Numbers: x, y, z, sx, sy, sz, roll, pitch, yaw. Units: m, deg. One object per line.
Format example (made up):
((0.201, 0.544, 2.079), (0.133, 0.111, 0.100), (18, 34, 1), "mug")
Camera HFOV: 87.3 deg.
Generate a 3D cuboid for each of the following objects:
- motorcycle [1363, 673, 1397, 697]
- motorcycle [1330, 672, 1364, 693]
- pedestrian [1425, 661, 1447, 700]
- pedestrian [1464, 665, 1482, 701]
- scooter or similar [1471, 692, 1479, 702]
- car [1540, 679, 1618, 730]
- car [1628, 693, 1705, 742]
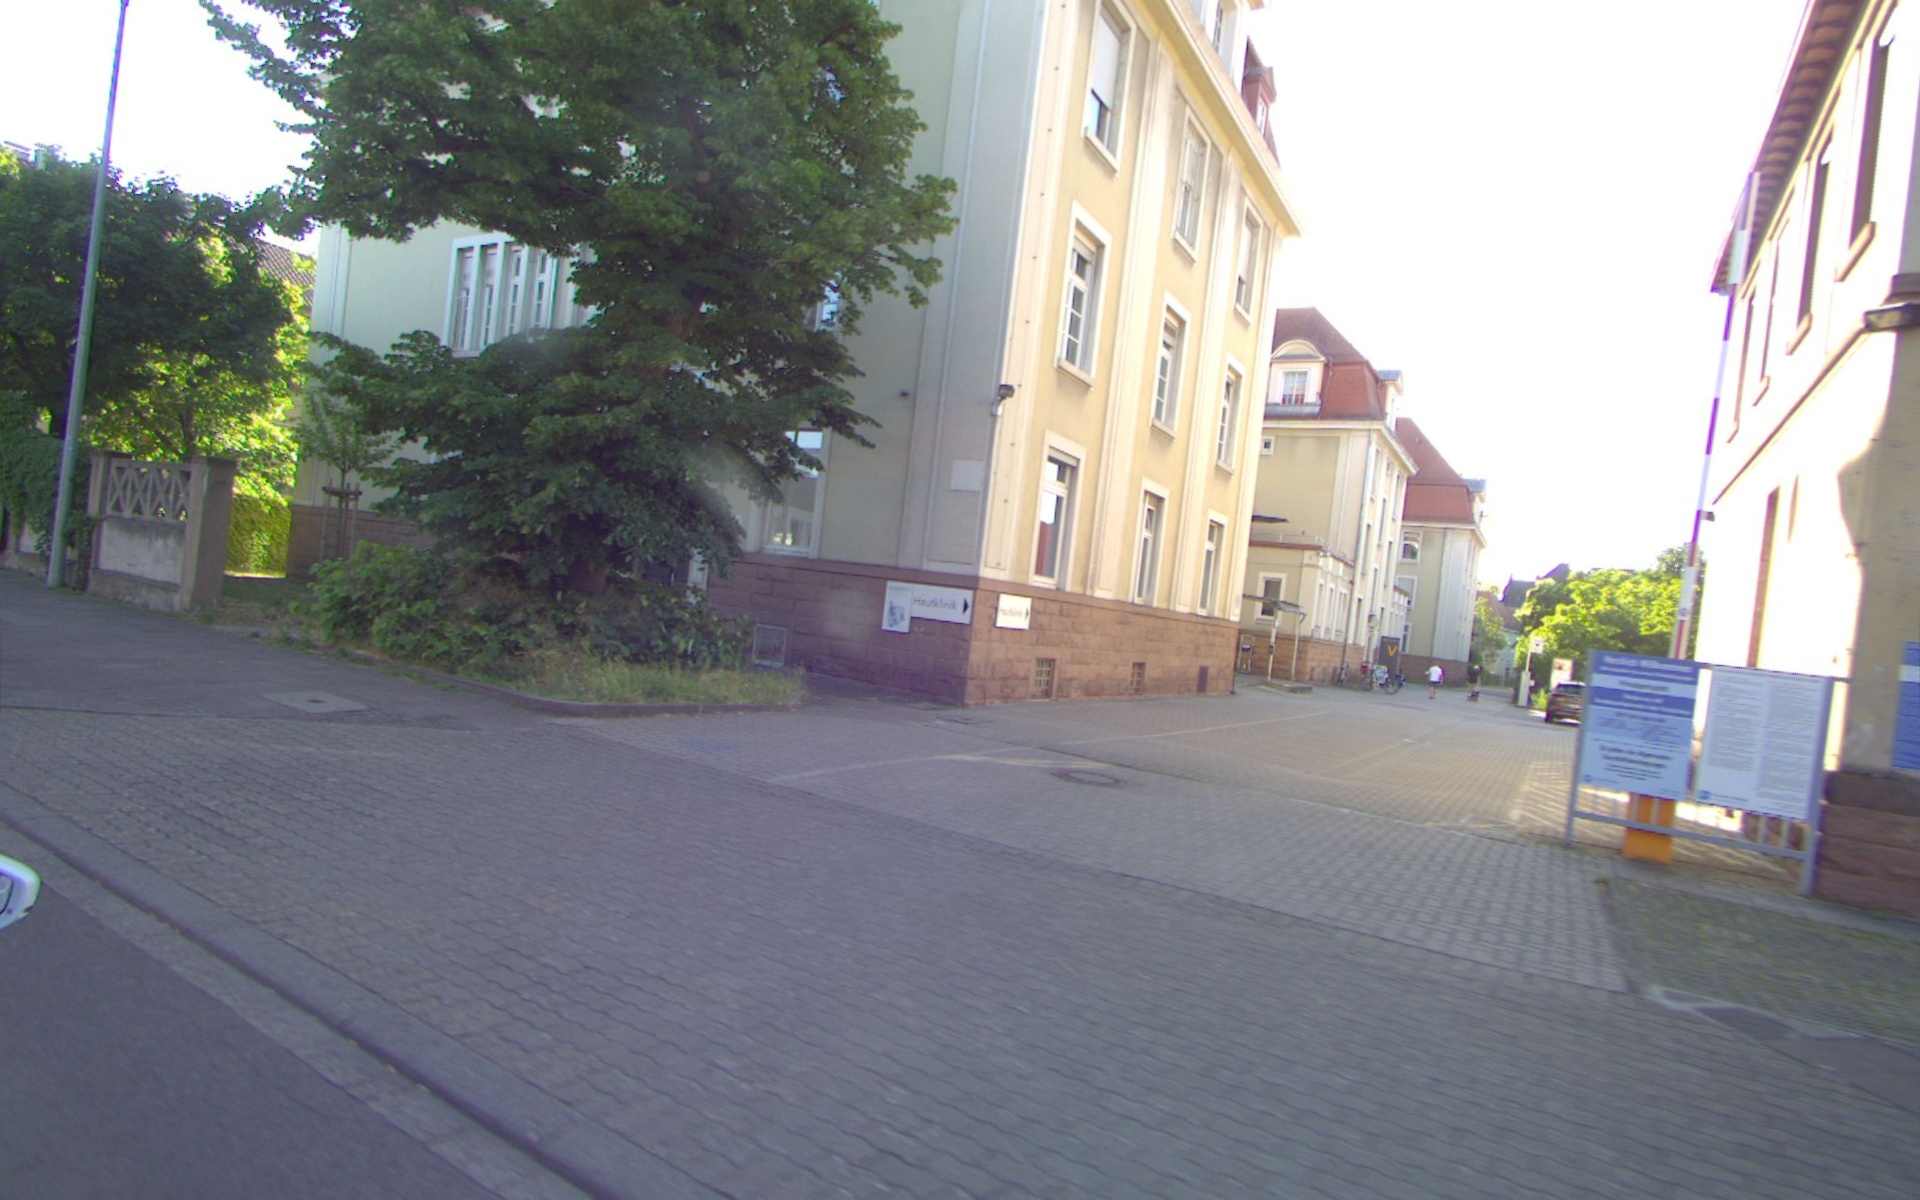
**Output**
((20.011, 4.044, 47.972), (1.372, 0.930, 0.322), (7, -1, 29), "motorcycle")
((18.131, 3.878, 47.088), (1.372, 0.795, 0.322), (7, -1, 29), "motorcycle")
((22.477, 3.790, 47.505), (0.724, 1.739, 0.586), (7, 1, 29), "pedestrian")
((25.971, 4.217, 50.915), (0.631, 1.739, 0.491), (7, 1, 29), "pedestrian")
((25.727, 4.850, 50.258), (0.289, 0.417, 0.269), (7, 1, 29), "scooter or similar")
((22.873, 3.867, 37.150), (1.764, 1.575, 3.431), (7, -1, 42), "car")
((25.353, 4.194, 36.061), (1.764, 1.418, 3.431), (7, -1, 42), "car")
